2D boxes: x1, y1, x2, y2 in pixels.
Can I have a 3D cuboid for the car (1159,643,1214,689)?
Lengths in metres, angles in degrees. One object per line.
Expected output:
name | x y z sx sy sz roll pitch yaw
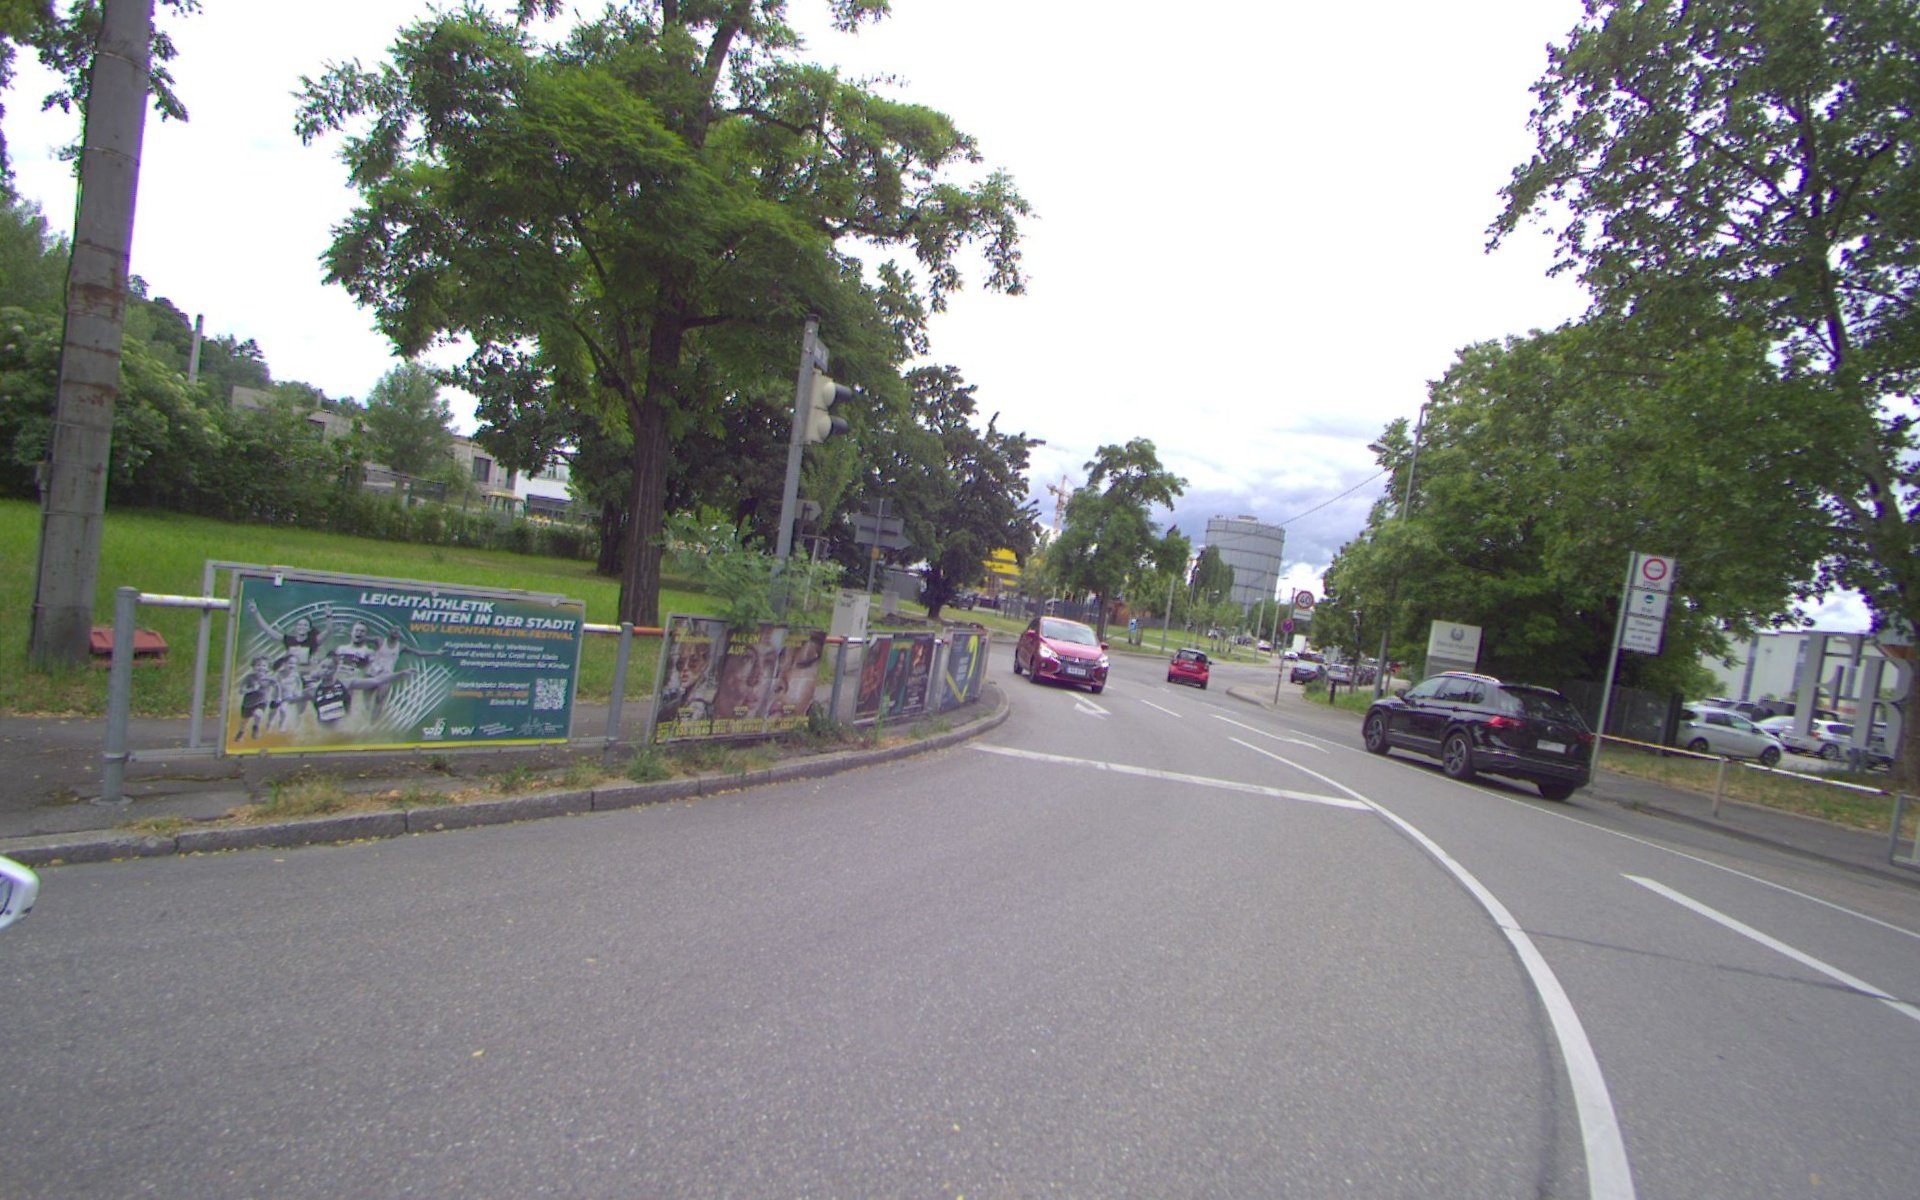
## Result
car | 9.489 2.753 42.395 1.685 1.483 3.020 9 1 5

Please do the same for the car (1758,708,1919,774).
car | 34.144 5.455 39.134 4.559 1.578 1.998 9 1 -4

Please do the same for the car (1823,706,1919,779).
car | 33.981 5.263 35.887 4.559 2.039 1.998 9 1 -4

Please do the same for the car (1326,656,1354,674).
car | 42.914 7.336 113.691 2.009 1.555 3.943 9 1 10

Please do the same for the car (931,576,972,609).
car | -0.596 -0.531 77.014 1.933 2.038 4.220 10 1 12

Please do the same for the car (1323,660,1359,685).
car | 27.639 5.301 72.956 1.688 1.423 3.366 10 0 32

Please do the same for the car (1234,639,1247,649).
car | 55.014 8.650 197.462 2.009 1.554 3.944 11 0 12

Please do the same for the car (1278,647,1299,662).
car | 43.591 7.214 133.615 2.008 1.555 3.943 6 0 12

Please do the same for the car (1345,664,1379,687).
car | 30.907 5.814 77.330 1.688 1.423 3.366 10 0 32

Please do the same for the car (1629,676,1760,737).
car | 35.542 5.132 48.743 4.739 2.039 1.998 9 1 -4

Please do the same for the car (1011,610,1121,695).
car | 2.304 1.121 22.870 1.702 1.483 3.832 8 0 -4

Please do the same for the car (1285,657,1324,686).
car | 22.288 4.628 65.023 1.687 1.508 3.368 10 0 28

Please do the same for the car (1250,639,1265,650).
car | 51.470 7.730 174.090 2.009 1.554 3.944 11 0 12

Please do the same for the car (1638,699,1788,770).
car | 23.924 4.274 32.034 3.667 1.523 1.478 9 1 -7

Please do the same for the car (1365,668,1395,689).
car | 35.903 6.763 86.023 1.688 1.423 3.366 10 0 32

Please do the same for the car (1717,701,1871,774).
car | 34.322 5.650 41.486 4.559 2.039 1.998 9 1 -4

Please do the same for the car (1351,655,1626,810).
car | 8.296 2.000 16.326 1.818 1.654 4.182 10 0 -4

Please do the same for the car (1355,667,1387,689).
car | 33.524 6.331 82.011 1.688 1.423 3.366 10 0 32
